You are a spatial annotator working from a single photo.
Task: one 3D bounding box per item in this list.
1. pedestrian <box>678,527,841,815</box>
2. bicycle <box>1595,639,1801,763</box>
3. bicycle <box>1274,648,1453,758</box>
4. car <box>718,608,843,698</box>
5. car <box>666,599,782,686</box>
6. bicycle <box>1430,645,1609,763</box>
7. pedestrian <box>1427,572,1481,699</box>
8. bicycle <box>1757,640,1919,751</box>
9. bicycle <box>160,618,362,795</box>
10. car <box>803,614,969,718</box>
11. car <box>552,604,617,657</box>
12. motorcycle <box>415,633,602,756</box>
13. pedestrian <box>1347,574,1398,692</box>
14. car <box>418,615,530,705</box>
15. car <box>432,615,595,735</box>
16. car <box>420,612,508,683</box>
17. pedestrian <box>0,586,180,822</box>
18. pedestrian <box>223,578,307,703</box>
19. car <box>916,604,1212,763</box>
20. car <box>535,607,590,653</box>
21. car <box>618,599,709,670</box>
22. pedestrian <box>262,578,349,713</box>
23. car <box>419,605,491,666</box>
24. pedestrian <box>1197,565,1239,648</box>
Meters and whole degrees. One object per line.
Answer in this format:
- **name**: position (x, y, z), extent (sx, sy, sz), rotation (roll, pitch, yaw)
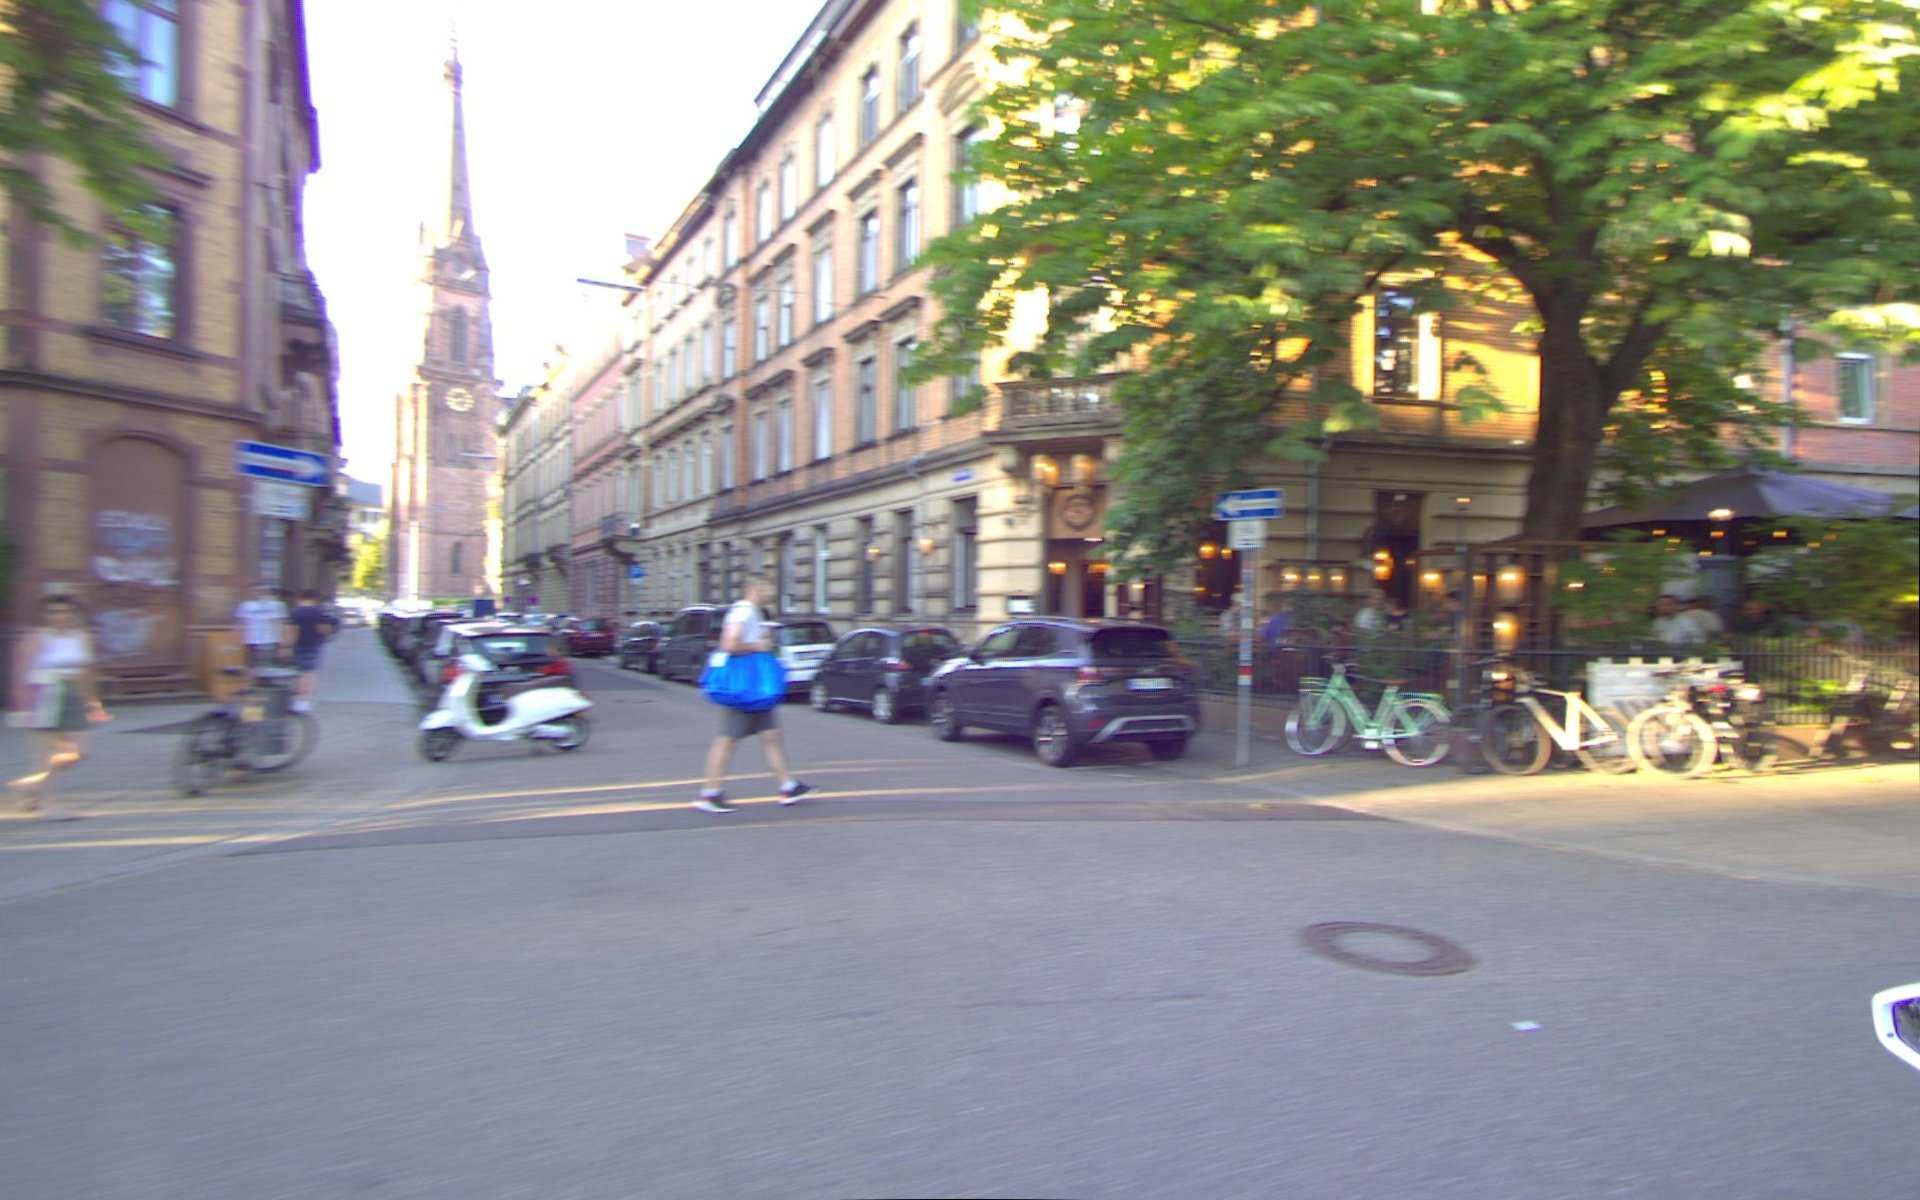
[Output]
- **pedestrian**: position (-1.556, 0.517, 7.754), extent (0.998, 2.040, 0.862), rotation (1, -2, -31)
- **bicycle**: position (7.537, 1.026, 10.270), extent (1.920, 1.202, 0.392), rotation (1, 2, -8)
- **bicycle**: position (4.427, 1.098, 11.114), extent (1.802, 1.113, 0.390), rotation (-1, -1, 41)
- **car**: position (-3.634, 0.995, 19.959), extent (1.449, 1.615, 3.308), rotation (0, -1, -29)
- **car**: position (-5.553, 0.944, 23.388), extent (1.669, 1.847, 3.460), rotation (0, -1, -31)
- **bicycle**: position (5.714, 1.042, 10.273), extent (1.713, 1.159, 0.392), rotation (0, 0, -7)
- **pedestrian**: position (5.899, 0.417, 11.987), extent (0.460, 1.470, 0.424), rotation (0, -1, -42)
- **bicycle**: position (9.970, 1.059, 11.146), extent (1.918, 1.159, 0.392), rotation (1, 2, -1)
- **bicycle**: position (-6.184, 0.876, 9.022), extent (0.508, 1.411, 1.800), rotation (2, -1, 0)
- **car**: position (-1.304, 0.994, 16.497), extent (1.450, 1.478, 3.307), rotation (0, 0, -30)
- **car**: position (-13.943, 1.111, 37.199), extent (1.669, 1.847, 3.460), rotation (0, -1, -31)
- **motorcycle**: position (-4.973, 1.022, 11.159), extent (1.829, 1.273, 0.471), rotation (-1, -1, -13)
- **pedestrian**: position (5.234, 0.414, 12.749), extent (0.460, 1.470, 0.424), rotation (0, -1, -42)
- **car**: position (-9.207, 1.040, 18.838), extent (1.561, 1.478, 4.389), rotation (0, -1, -30)
- **car**: position (-6.631, 0.984, 14.682), extent (1.766, 1.478, 3.986), rotation (0, -1, -30)
- **car**: position (-11.664, 1.057, 23.485), extent (1.561, 1.478, 4.389), rotation (0, -1, -30)
- **pedestrian**: position (-6.572, 0.743, 7.571), extent (1.043, 1.652, 0.680), rotation (1, -2, -37)
- **pedestrian**: position (-10.772, 0.617, 15.599), extent (0.769, 1.847, 0.920), rotation (4, 0, -22)
- **car**: position (1.055, 0.865, 11.991), extent (1.613, 1.566, 3.828), rotation (0, -1, -29)
- **car**: position (-16.931, 1.245, 42.738), extent (1.669, 1.847, 3.460), rotation (0, -1, -31)
- **car**: position (-8.373, 0.949, 28.187), extent (1.669, 1.847, 3.460), rotation (0, -1, -31)
- **pedestrian**: position (-9.429, 0.643, 14.507), extent (0.675, 1.847, 0.792), rotation (4, 0, -8)
- **car**: position (-14.260, 0.964, 28.289), extent (1.561, 1.593, 4.086), rotation (0, -1, -30)
- **pedestrian**: position (4.491, 0.117, 17.487), extent (0.457, 1.431, 0.521), rotation (0, -1, -25)
